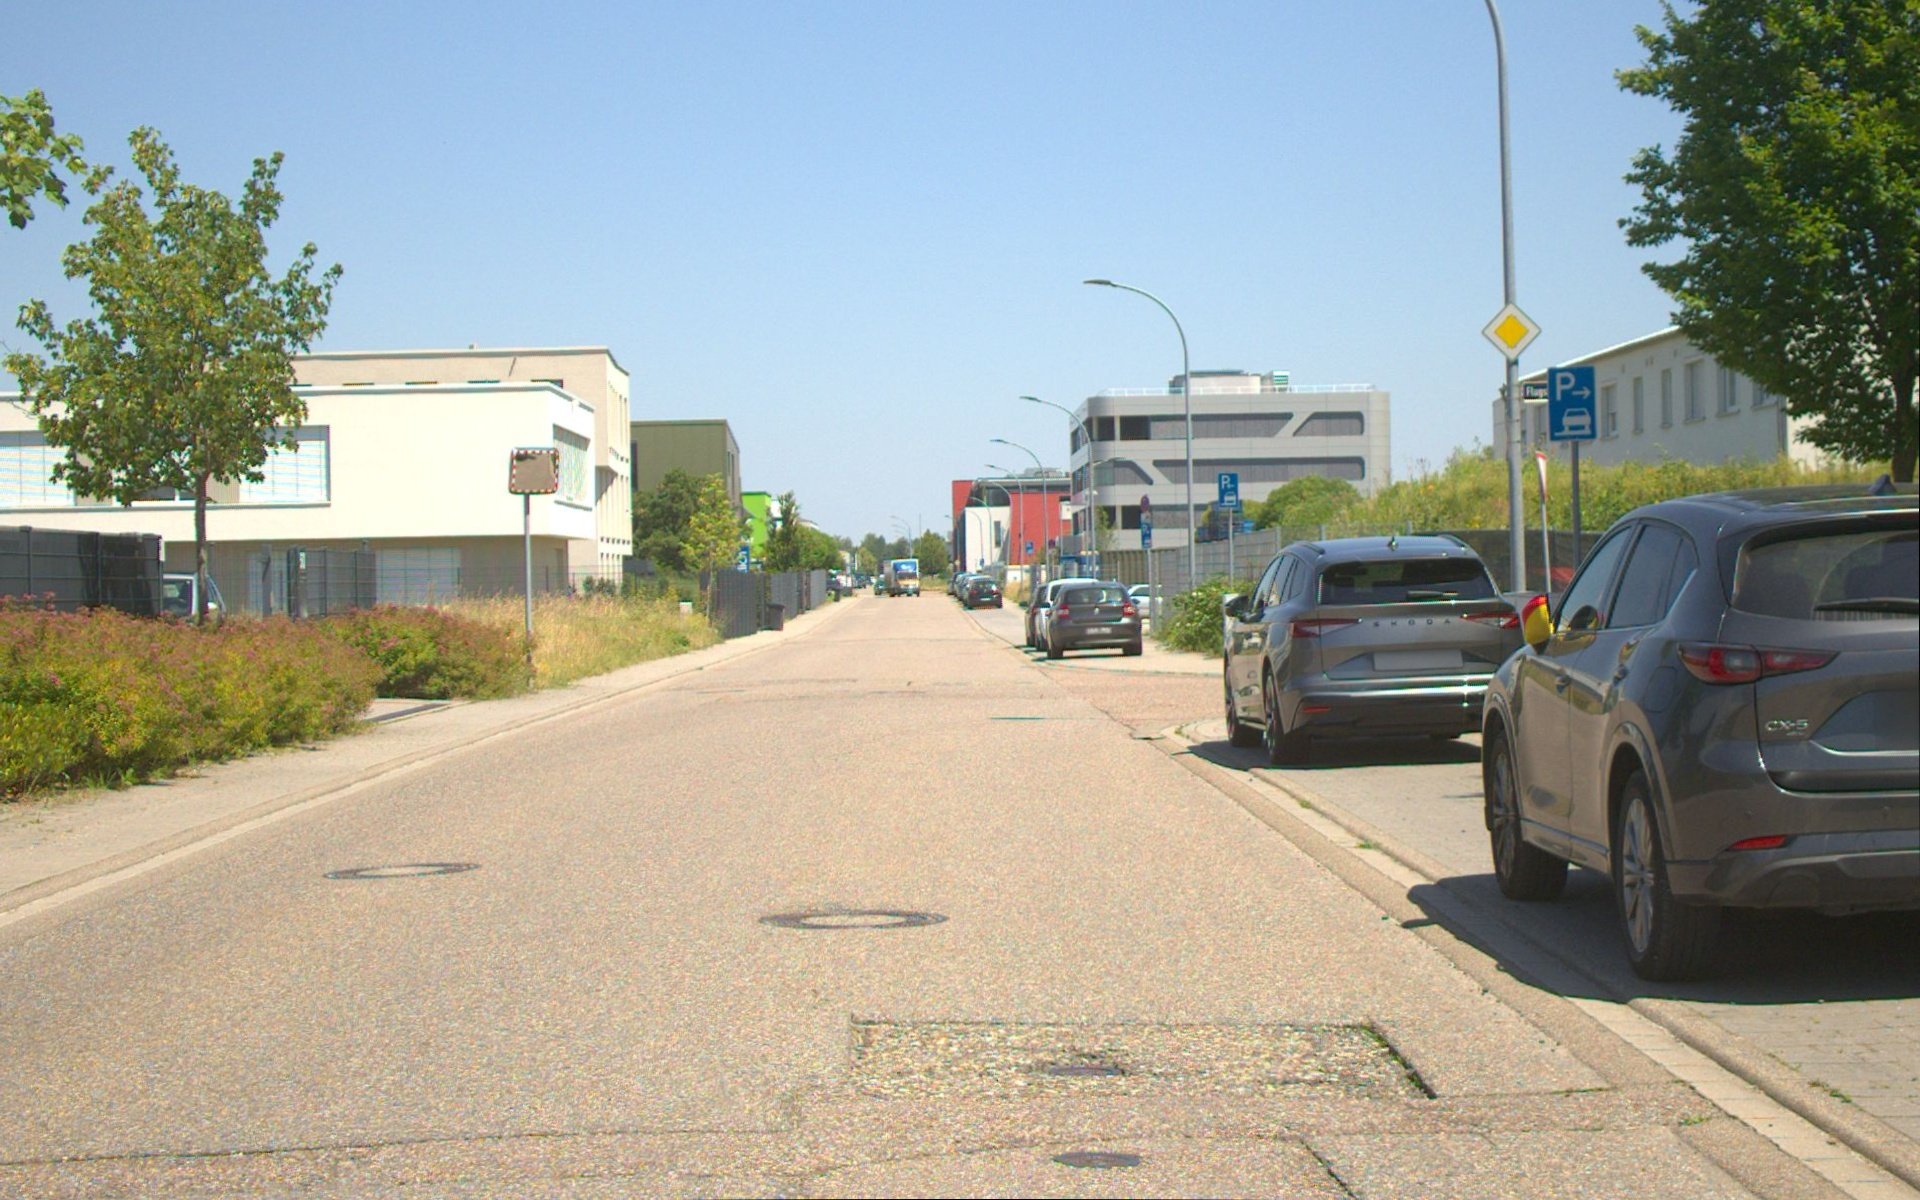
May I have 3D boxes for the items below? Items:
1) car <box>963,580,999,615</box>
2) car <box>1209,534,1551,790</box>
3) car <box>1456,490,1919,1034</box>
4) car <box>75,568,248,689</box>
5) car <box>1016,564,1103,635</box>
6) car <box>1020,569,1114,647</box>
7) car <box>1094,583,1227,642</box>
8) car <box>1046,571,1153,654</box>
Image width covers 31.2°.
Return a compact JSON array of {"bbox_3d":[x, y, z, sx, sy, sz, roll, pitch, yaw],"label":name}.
[{"bbox_3d":[1.067,-0.142,175.947,1.776,1.722,4.000,1,0,-1],"label":"car"},{"bbox_3d":[3.042,0.396,25.836,1.803,1.656,4.608,-3,1,-2],"label":"car"},{"bbox_3d":[3.084,0.457,12.855,1.757,1.657,4.363,-2,1,0],"label":"car"},{"bbox_3d":[-10.501,0.353,45.384,1.700,1.515,2.998,-1,0,-3],"label":"car"},{"bbox_3d":[2.338,-0.027,80.402,1.908,1.541,4.000,-2,0,2],"label":"car"},{"bbox_3d":[2.314,0.152,74.122,1.908,1.541,4.000,-2,0,2],"label":"car"},{"bbox_3d":[7.125,0.436,122.492,4.625,2.007,2.606,1,0,3],"label":"car"},{"bbox_3d":[2.635,0.224,65.202,1.908,1.443,4.000,-2,0,2],"label":"car"}]
